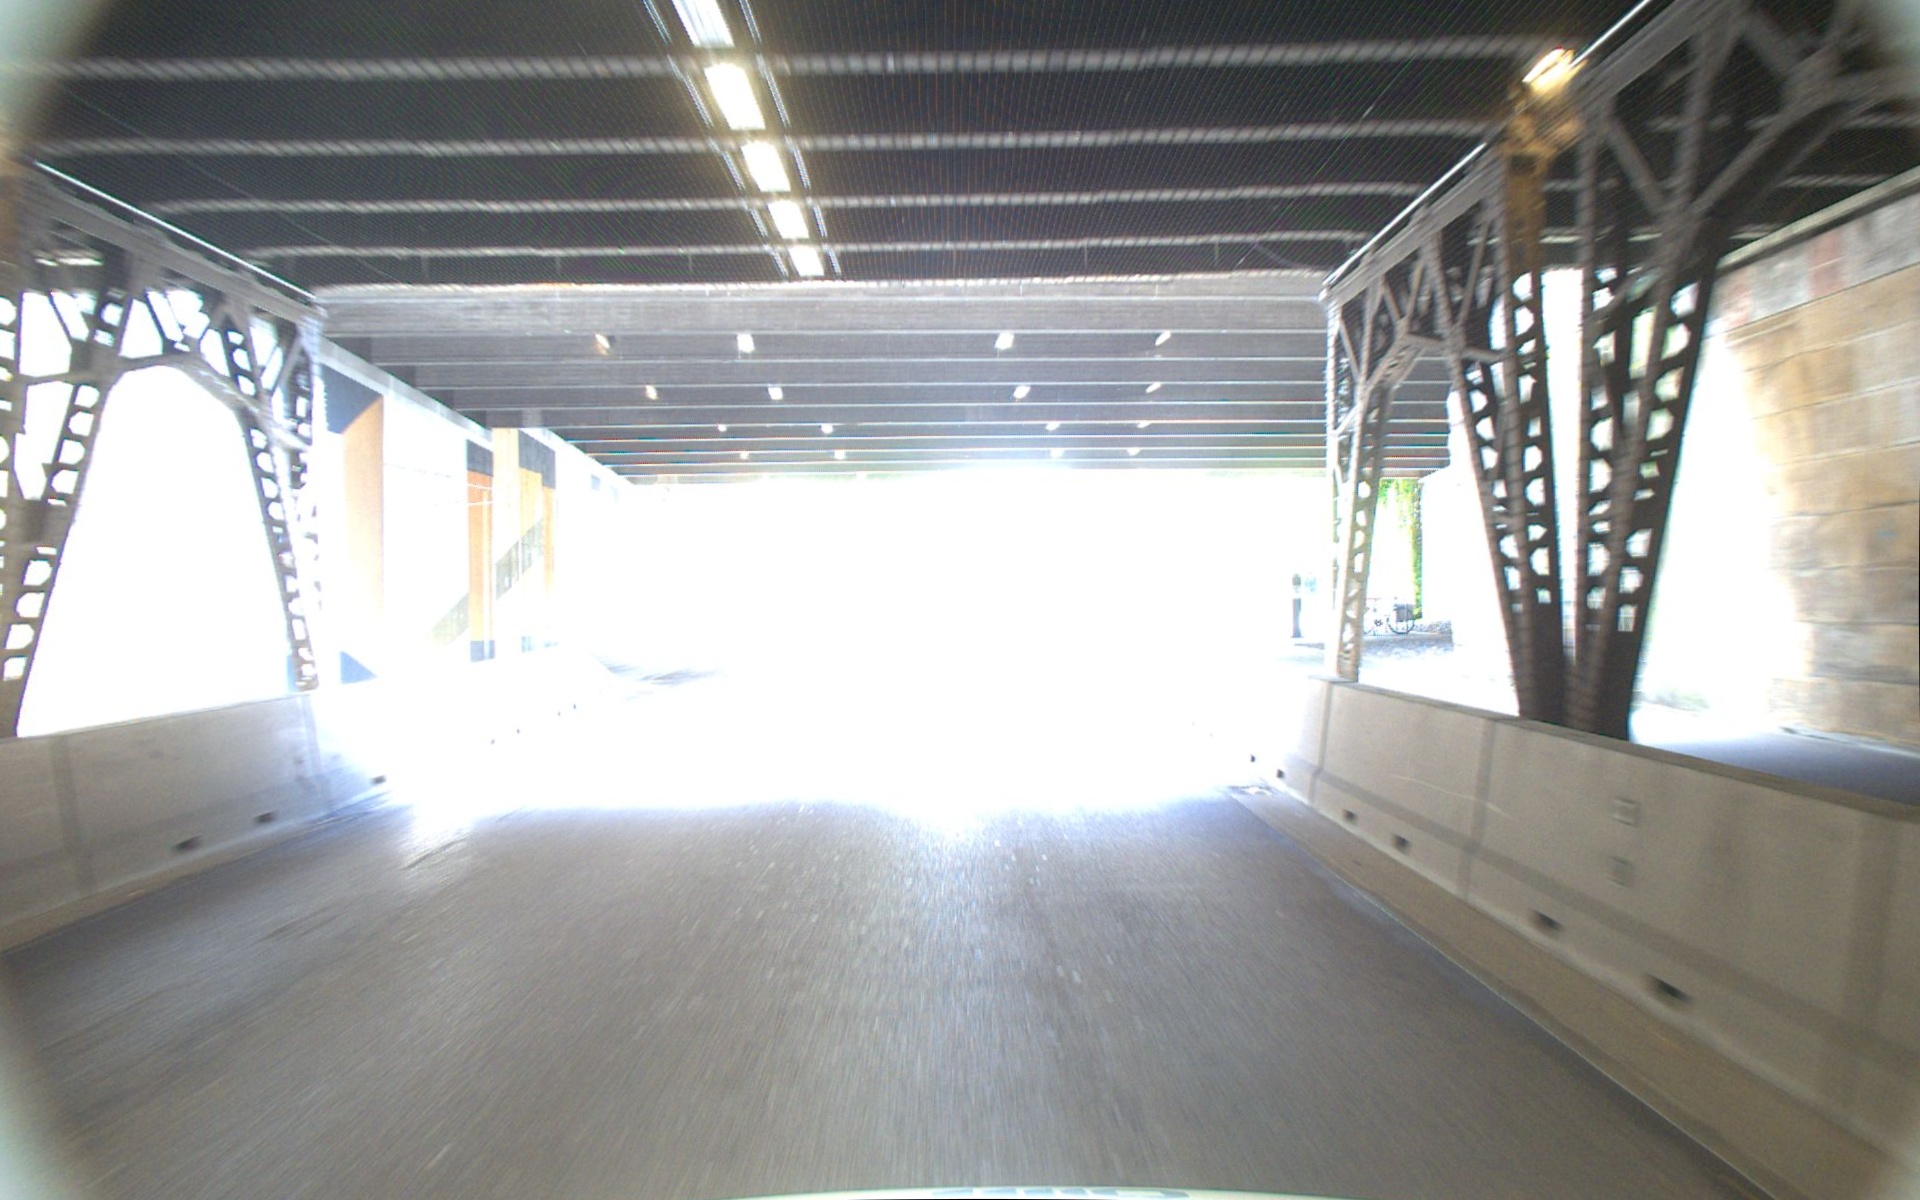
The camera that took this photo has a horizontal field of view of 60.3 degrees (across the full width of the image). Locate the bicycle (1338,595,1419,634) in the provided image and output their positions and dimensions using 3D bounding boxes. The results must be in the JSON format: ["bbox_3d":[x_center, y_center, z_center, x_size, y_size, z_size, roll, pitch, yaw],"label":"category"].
[{"bbox_3d":[10.680,0.376,42.211,1.906,0.920,0.506,-2,-1,-2],"label":"bicycle"}]

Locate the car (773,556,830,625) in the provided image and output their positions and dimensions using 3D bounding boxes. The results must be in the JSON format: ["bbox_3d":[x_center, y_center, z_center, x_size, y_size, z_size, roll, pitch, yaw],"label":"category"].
[{"bbox_3d":[-6.387,-0.372,67.184,1.928,2.652,5.928,1,0,-2],"label":"car"}]

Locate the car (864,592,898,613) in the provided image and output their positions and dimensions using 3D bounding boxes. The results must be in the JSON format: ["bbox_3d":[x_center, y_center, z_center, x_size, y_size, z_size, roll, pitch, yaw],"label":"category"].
[{"bbox_3d":[-4.969,0.137,104.687,1.674,1.267,4.413,0,1,4],"label":"car"}]

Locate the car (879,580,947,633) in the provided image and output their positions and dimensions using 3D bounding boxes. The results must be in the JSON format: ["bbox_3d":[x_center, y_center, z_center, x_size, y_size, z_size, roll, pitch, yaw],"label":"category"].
[{"bbox_3d":[-1.559,0.179,56.440,1.787,1.682,4.217,-2,0,5],"label":"car"}]

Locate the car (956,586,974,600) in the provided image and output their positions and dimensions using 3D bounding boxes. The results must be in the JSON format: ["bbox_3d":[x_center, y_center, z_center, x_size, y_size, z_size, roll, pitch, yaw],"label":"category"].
[{"bbox_3d":[0.502,-0.666,166.157,1.675,1.378,3.999,0,1,-1],"label":"car"}]

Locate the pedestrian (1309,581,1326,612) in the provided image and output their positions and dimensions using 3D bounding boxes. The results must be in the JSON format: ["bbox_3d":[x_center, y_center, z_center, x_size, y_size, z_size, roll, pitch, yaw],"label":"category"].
[{"bbox_3d":[19.538,-0.176,90.376,0.686,1.704,0.613,0,0,-21],"label":"pedestrian"}]

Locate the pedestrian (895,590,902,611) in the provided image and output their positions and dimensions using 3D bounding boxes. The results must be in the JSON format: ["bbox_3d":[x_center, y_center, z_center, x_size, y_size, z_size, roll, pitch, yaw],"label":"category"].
[{"bbox_3d":[-5.193,0.032,140.241,0.540,1.715,0.516,0,0,-1],"label":"pedestrian"}]

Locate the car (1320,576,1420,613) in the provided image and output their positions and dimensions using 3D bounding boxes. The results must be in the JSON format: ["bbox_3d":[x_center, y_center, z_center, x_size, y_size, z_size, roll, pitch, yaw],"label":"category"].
[{"bbox_3d":[20.302,-0.290,82.084,4.578,1.717,2.001,-1,0,7],"label":"car"}]

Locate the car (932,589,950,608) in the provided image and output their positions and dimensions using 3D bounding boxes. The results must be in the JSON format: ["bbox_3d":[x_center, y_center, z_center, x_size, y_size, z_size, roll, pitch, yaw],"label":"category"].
[{"bbox_3d":[-1.780,-0.167,155.145,1.675,1.742,3.999,0,1,-1],"label":"car"}]

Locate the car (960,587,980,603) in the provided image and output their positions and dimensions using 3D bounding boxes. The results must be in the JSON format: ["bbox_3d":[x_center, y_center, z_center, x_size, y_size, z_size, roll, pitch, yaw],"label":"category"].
[{"bbox_3d":[0.879,-0.434,148.466,1.675,1.378,3.999,0,1,-1],"label":"car"}]
